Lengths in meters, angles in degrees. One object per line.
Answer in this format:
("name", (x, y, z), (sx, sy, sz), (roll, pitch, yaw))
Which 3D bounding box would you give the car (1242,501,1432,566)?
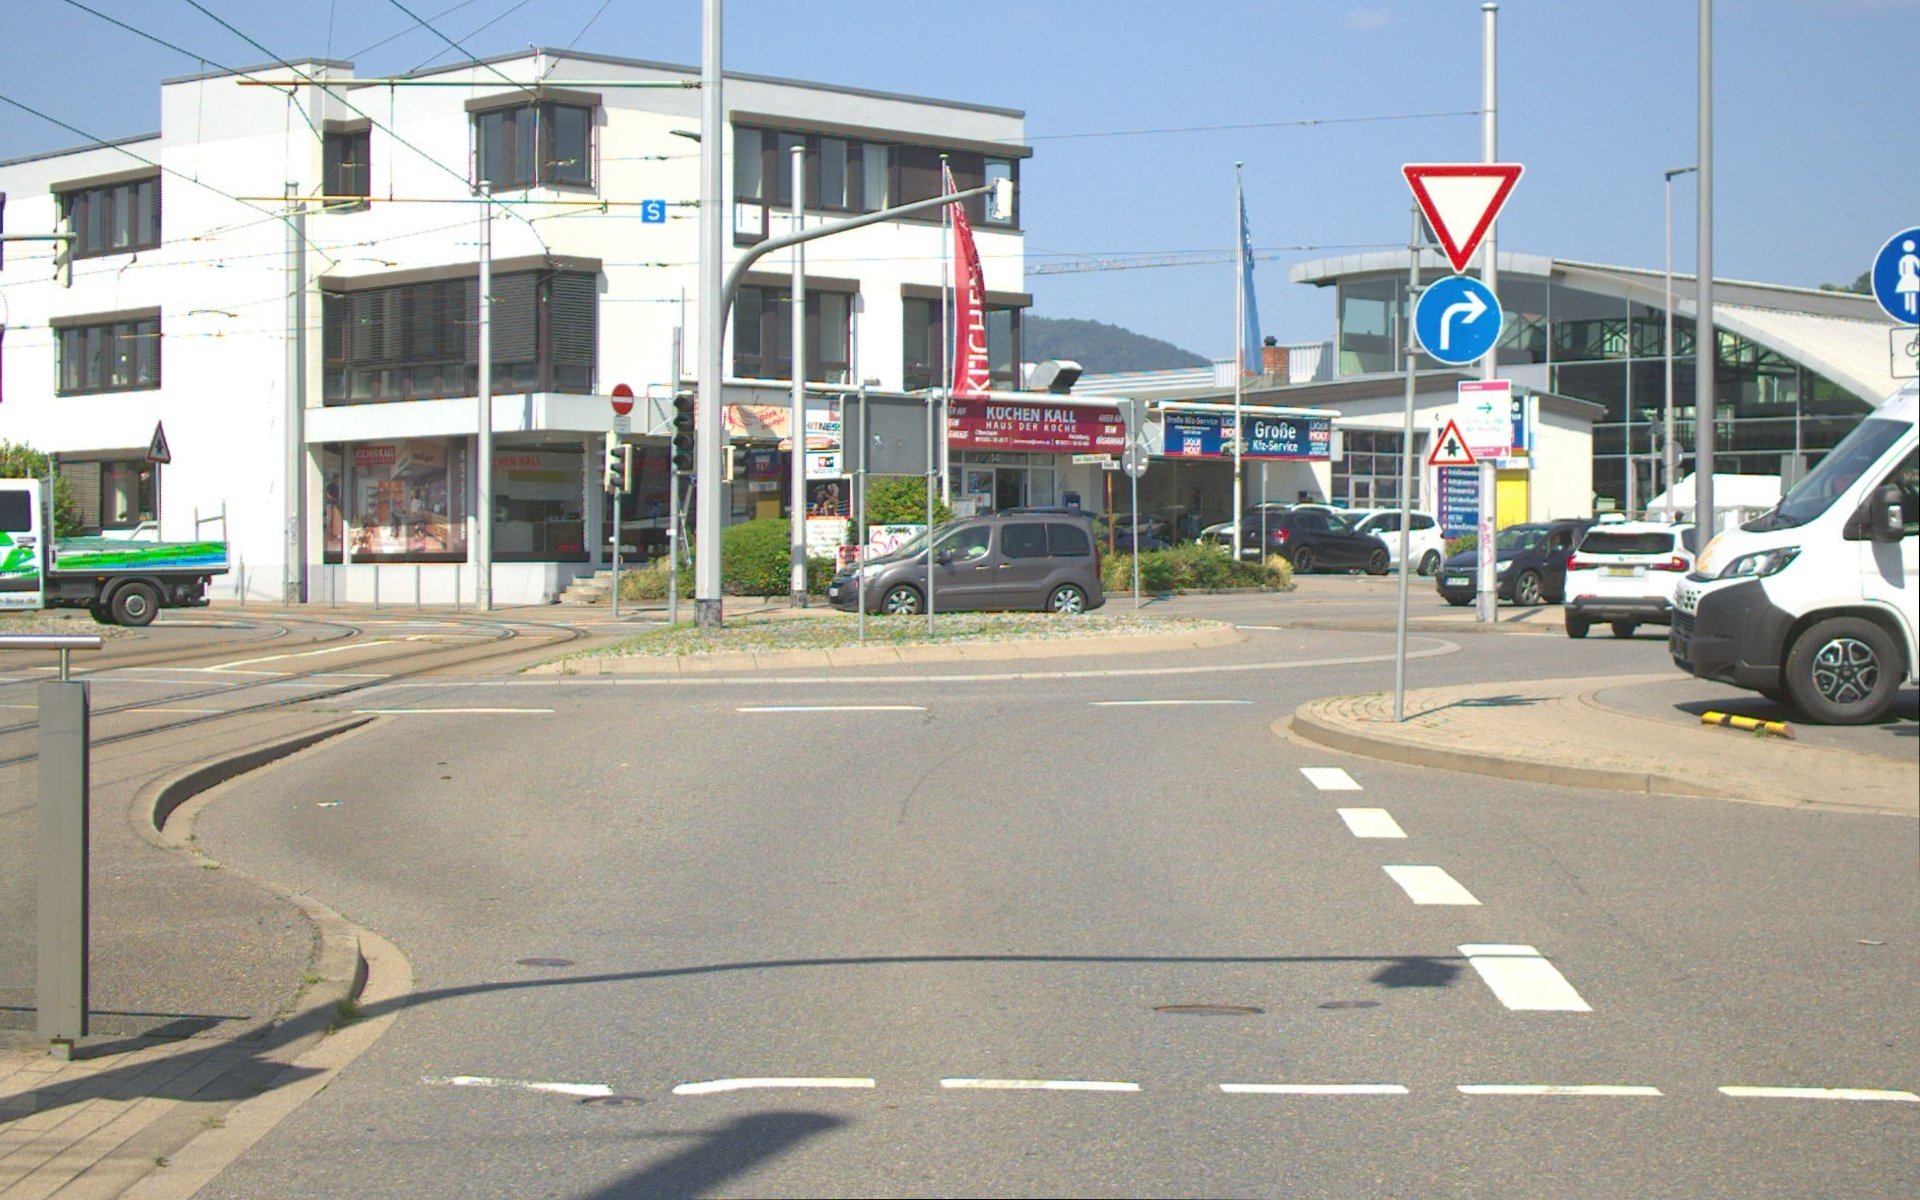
("car", (8.450, -1.488, 76.918), (2.031, 1.422, 4.306), (1, 2, 44))

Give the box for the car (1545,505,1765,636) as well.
("car", (9.729, -0.435, 47.867), (1.996, 1.727, 4.558), (0, 1, 25))

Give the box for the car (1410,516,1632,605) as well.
("car", (10.203, -0.739, 62.366), (1.968, 1.550, 4.232), (1, 2, 42))

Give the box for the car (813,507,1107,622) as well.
("car", (-0.018, -0.589, 55.587), (4.393, 1.812, 1.990), (0, 1, -15))

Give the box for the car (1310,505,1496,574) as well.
("car", (10.806, -1.473, 83.623), (1.885, 1.583, 4.915), (-2, 0, 44))

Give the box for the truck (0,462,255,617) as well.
("truck", (-14.282, -0.935, 53.019), (6.367, 2.329, 2.210), (0, 1, -22))

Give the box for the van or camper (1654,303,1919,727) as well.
("van or camper", (7.823, -0.613, 23.444), (5.811, 2.764, 2.091), (-1, 2, 4))
